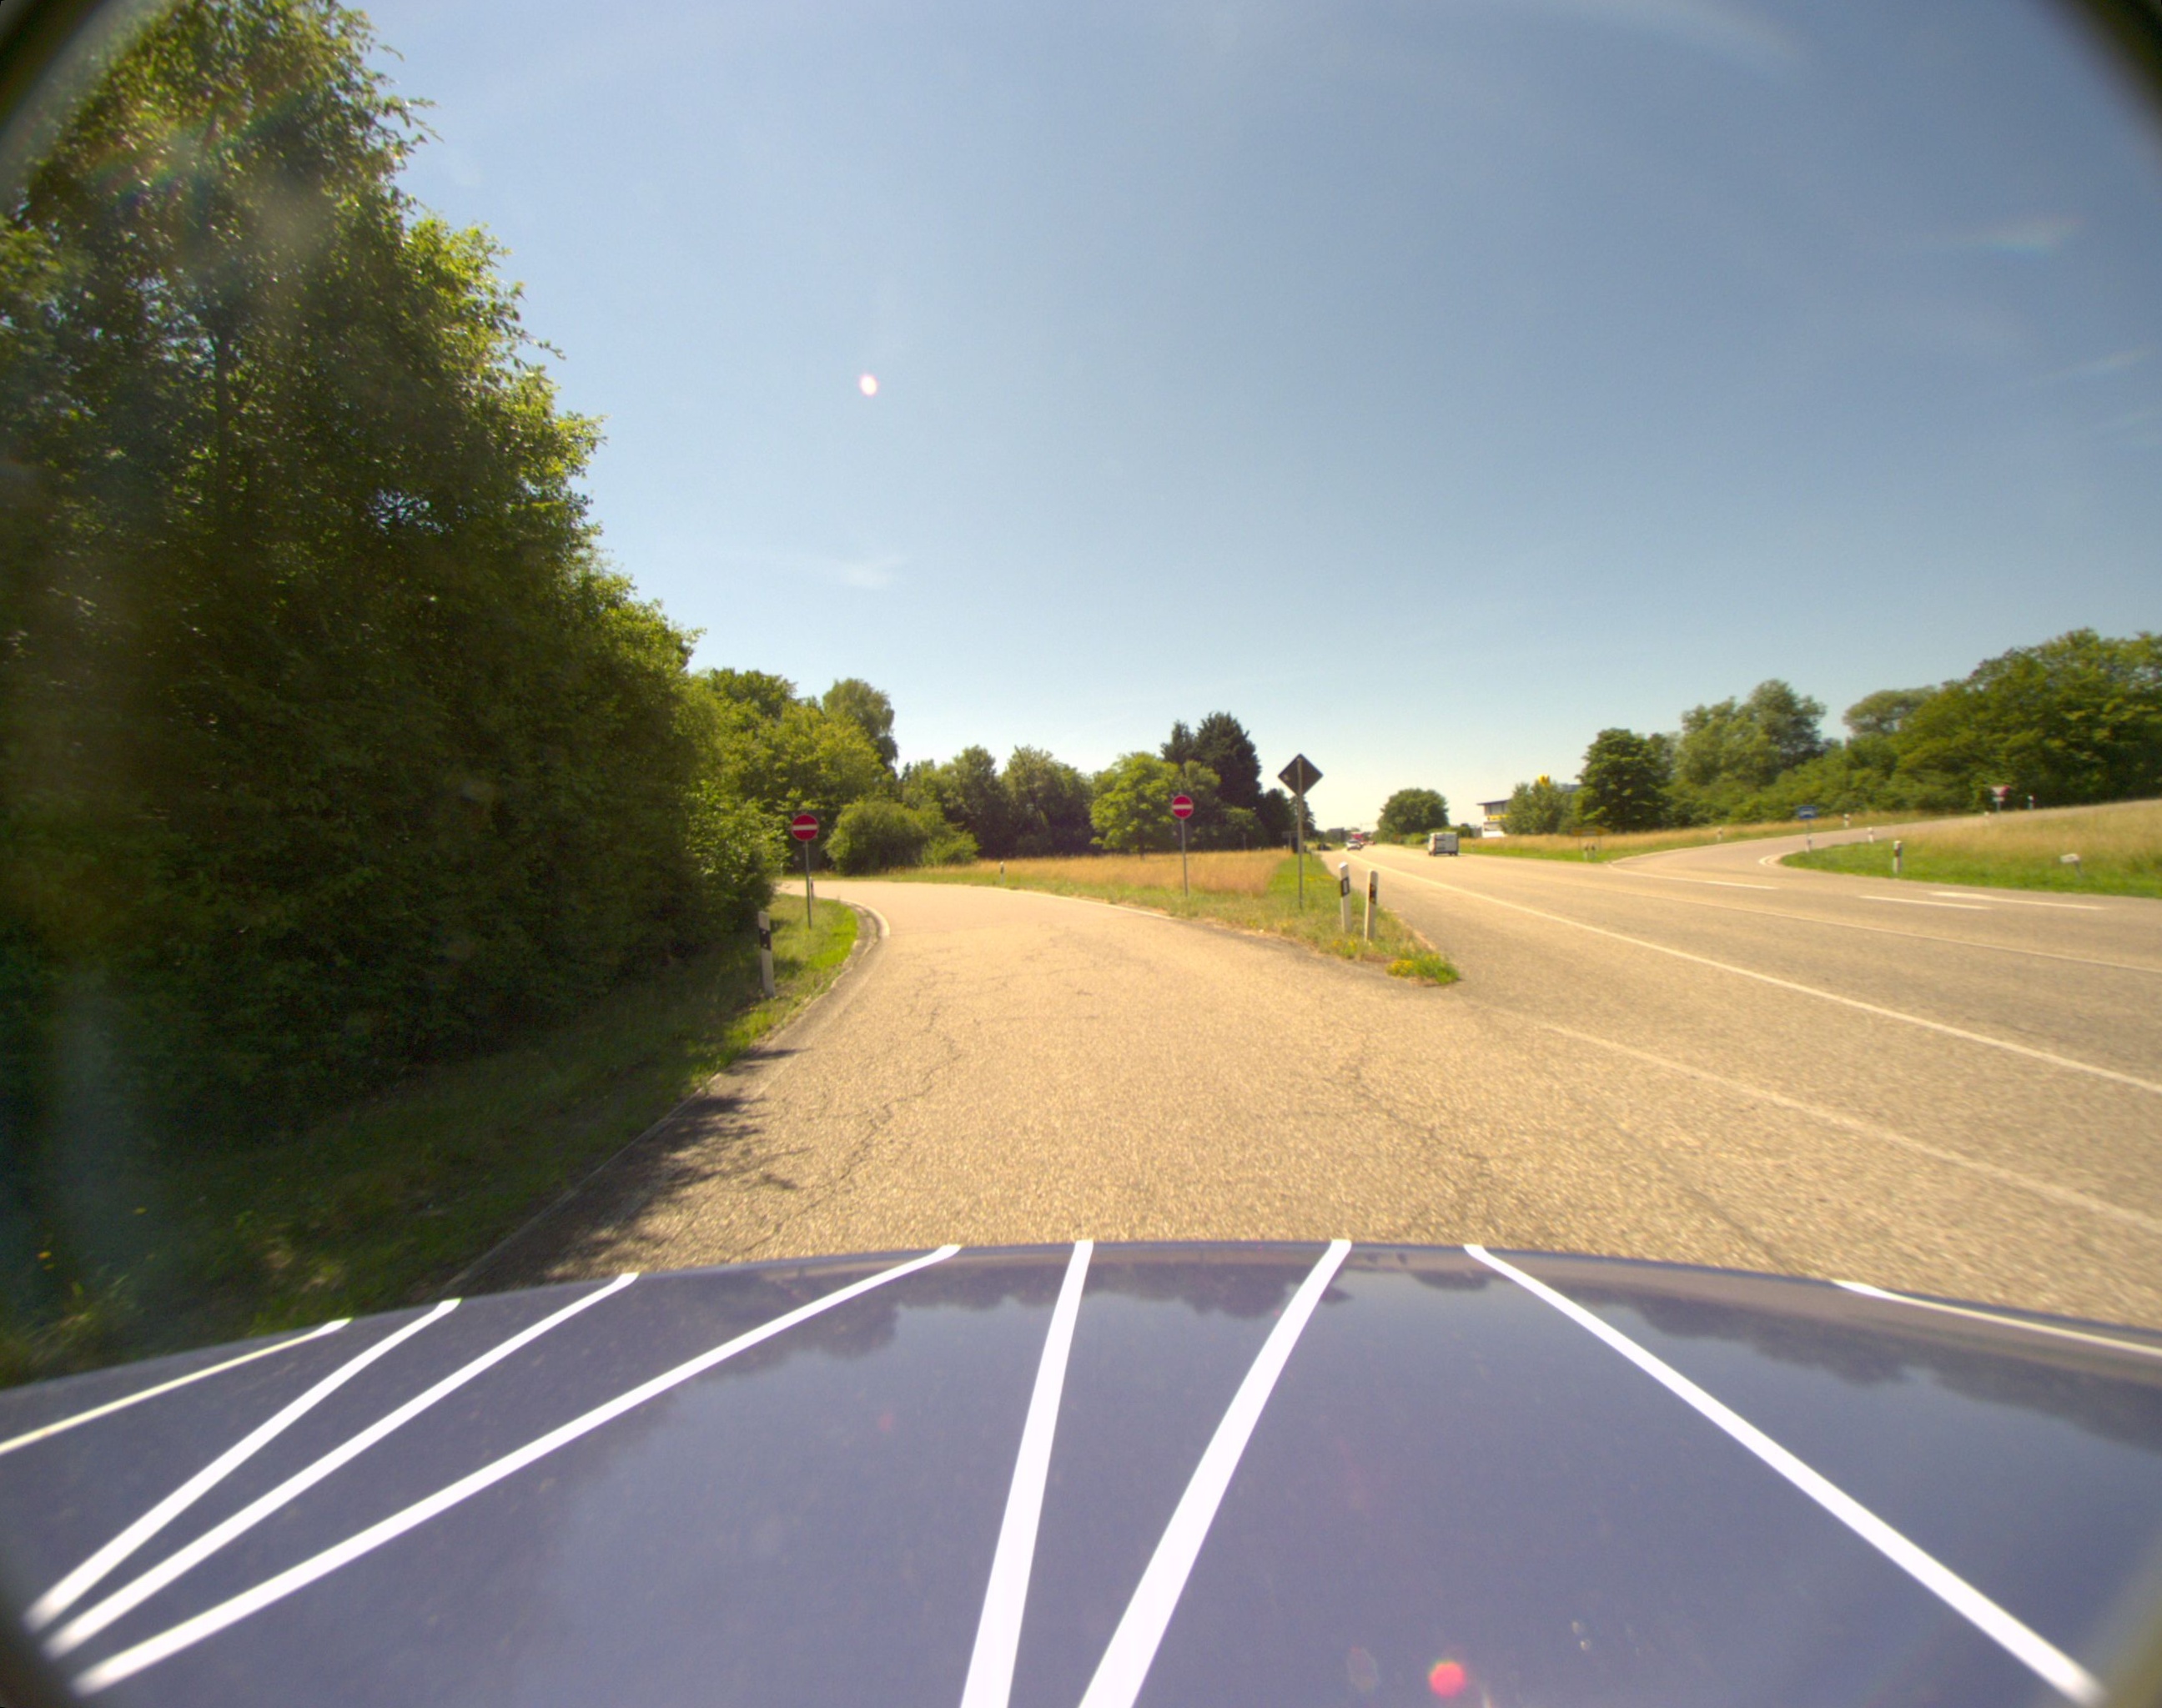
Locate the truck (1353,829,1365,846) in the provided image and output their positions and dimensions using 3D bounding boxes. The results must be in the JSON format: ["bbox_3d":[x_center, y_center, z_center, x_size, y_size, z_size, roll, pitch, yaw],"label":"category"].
[{"bbox_3d":[54.436,-3.187,148.850,1.995,3.158,7.015,-1,-1,21],"label":"truck"}]

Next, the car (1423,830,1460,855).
[{"bbox_3d":[30.225,-0.914,63.847,1.911,1.949,5.401,-1,-1,16],"label":"car"}]

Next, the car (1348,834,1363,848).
[{"bbox_3d":[41.182,-1.932,114.118,1.911,1.949,4.463,-1,-1,18],"label":"car"}]
